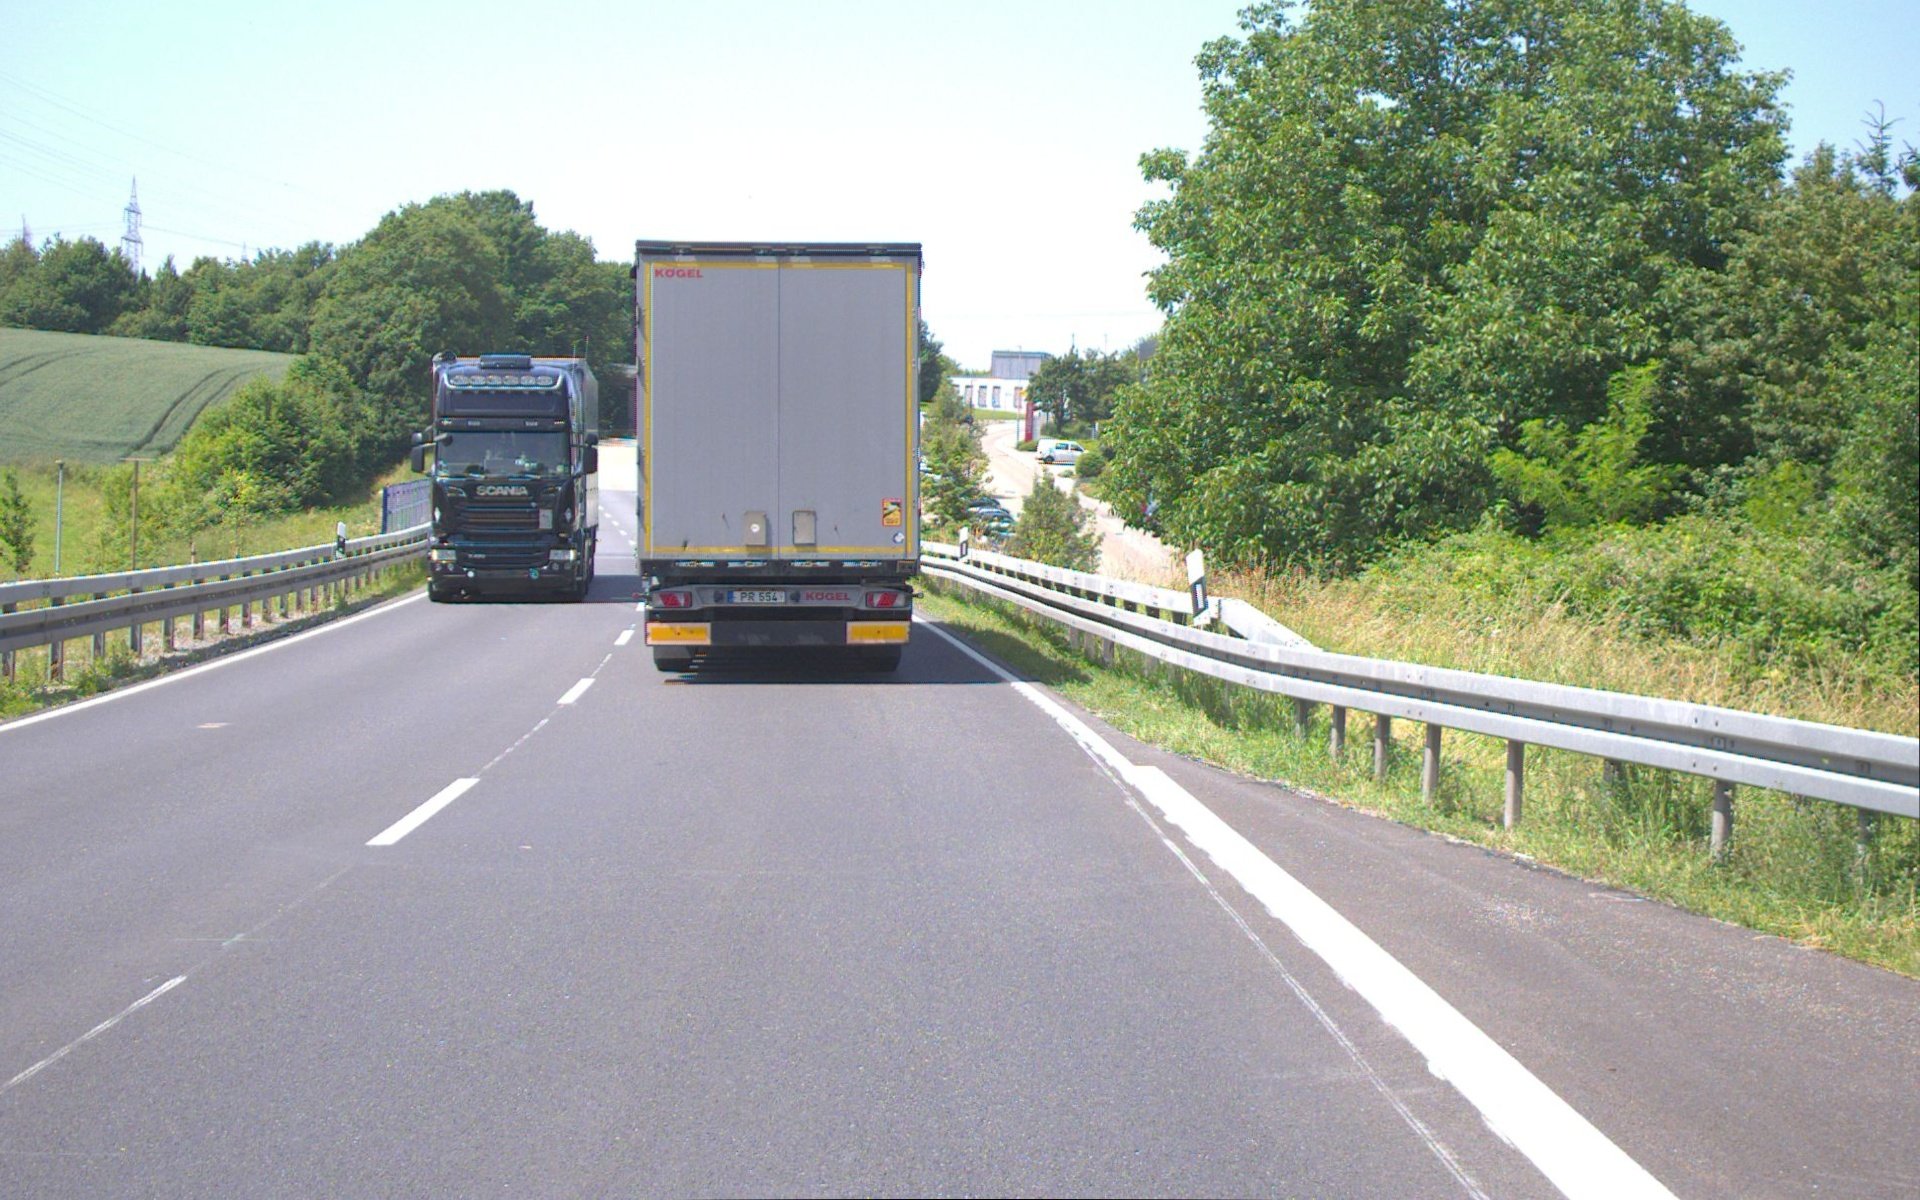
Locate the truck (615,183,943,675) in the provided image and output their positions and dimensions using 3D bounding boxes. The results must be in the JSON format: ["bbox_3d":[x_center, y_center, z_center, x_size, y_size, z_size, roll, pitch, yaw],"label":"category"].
[{"bbox_3d":[-1.937,-1.659,35.391,2.865,4.344,9.791,-1,2,-4],"label":"truck"}]

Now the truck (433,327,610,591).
[{"bbox_3d":[-7.274,-2.340,57.632,2.445,4.180,5.650,-1,2,-3],"label":"truck"}]
